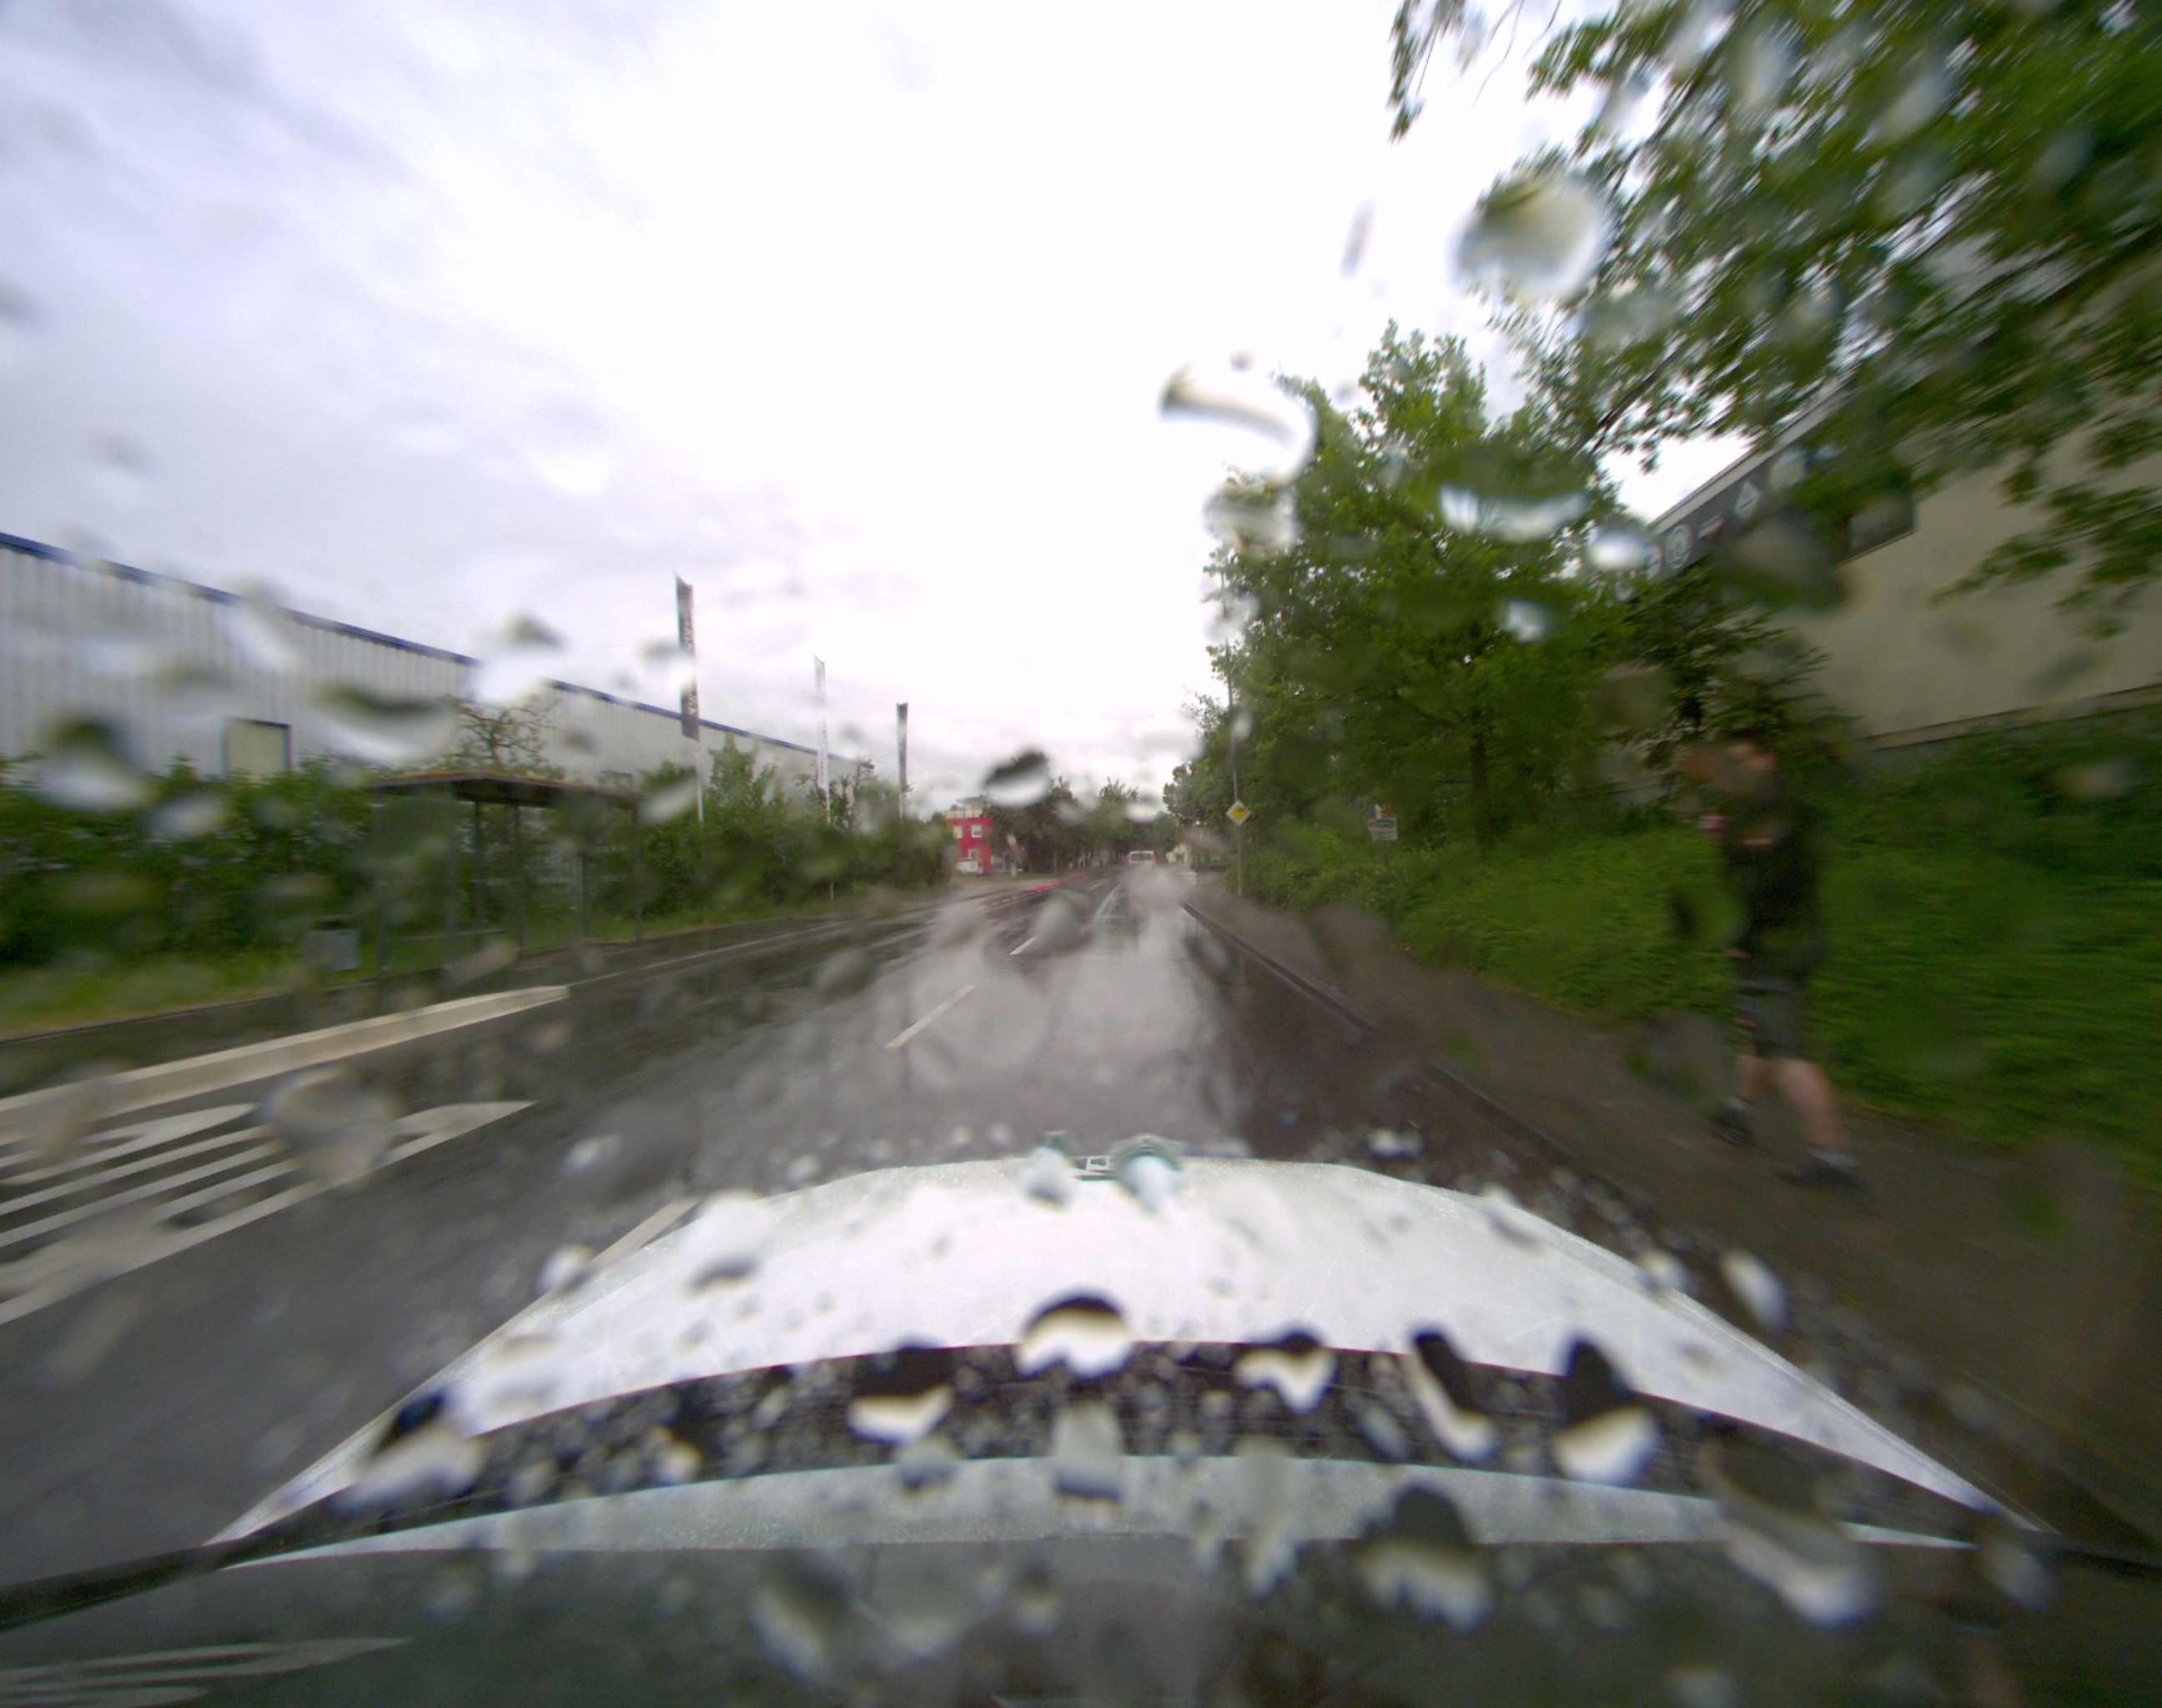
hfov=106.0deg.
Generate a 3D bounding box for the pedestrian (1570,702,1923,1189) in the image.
[{"bbox_3d":[2.827,0.350,3.577,0.742,1.837,0.890,-3,0,1],"label":"pedestrian"}]

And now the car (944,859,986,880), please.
[{"bbox_3d":[-13.818,1.849,97.493,4.448,2.310,2.192,-1,0,11],"label":"car"}]

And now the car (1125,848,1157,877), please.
[{"bbox_3d":[4.201,0.567,57.047,2.108,1.888,4.506,-1,0,3],"label":"car"}]
